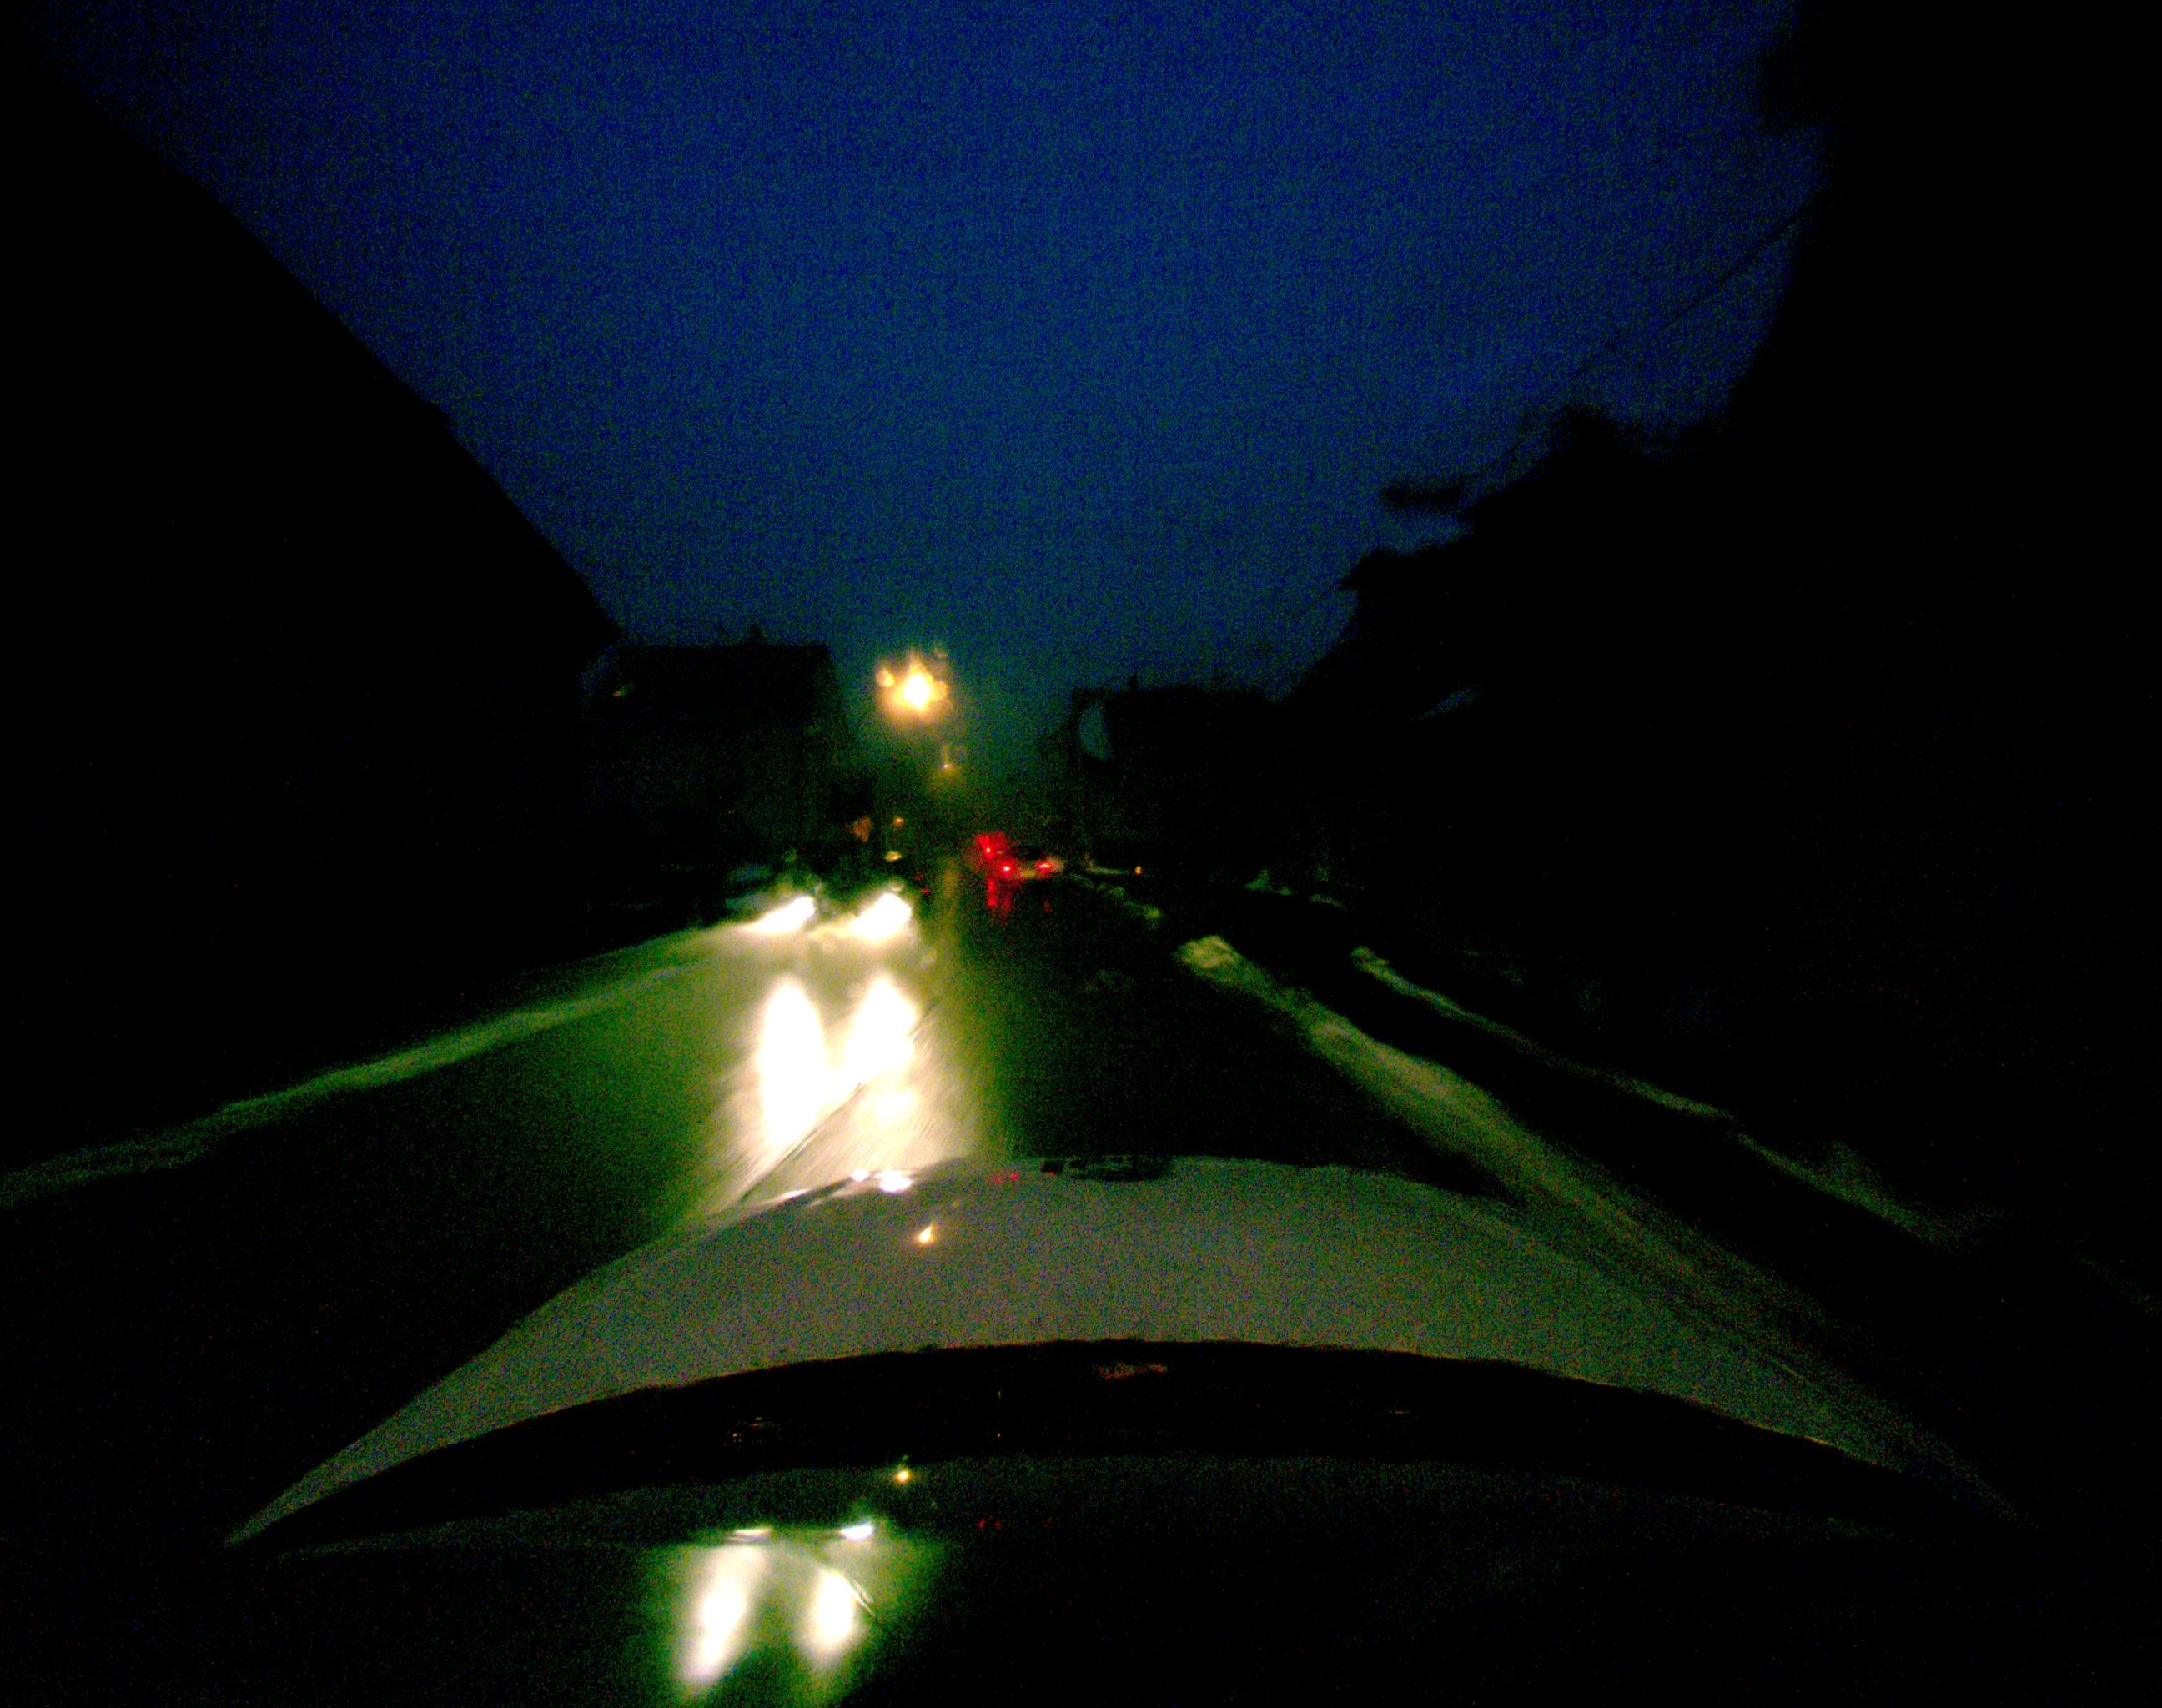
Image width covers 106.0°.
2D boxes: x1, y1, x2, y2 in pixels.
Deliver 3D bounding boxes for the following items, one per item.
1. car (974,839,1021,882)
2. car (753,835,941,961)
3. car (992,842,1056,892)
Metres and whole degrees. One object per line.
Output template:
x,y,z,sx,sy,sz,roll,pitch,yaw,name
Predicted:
-4.216,0.386,41.490,1.988,2.014,3.997,2,-2,-1,car
-3.570,0.563,13.351,1.836,1.687,4.476,-1,1,-1,car
-1.940,0.473,28.089,1.989,1.508,3.994,2,-2,-3,car
